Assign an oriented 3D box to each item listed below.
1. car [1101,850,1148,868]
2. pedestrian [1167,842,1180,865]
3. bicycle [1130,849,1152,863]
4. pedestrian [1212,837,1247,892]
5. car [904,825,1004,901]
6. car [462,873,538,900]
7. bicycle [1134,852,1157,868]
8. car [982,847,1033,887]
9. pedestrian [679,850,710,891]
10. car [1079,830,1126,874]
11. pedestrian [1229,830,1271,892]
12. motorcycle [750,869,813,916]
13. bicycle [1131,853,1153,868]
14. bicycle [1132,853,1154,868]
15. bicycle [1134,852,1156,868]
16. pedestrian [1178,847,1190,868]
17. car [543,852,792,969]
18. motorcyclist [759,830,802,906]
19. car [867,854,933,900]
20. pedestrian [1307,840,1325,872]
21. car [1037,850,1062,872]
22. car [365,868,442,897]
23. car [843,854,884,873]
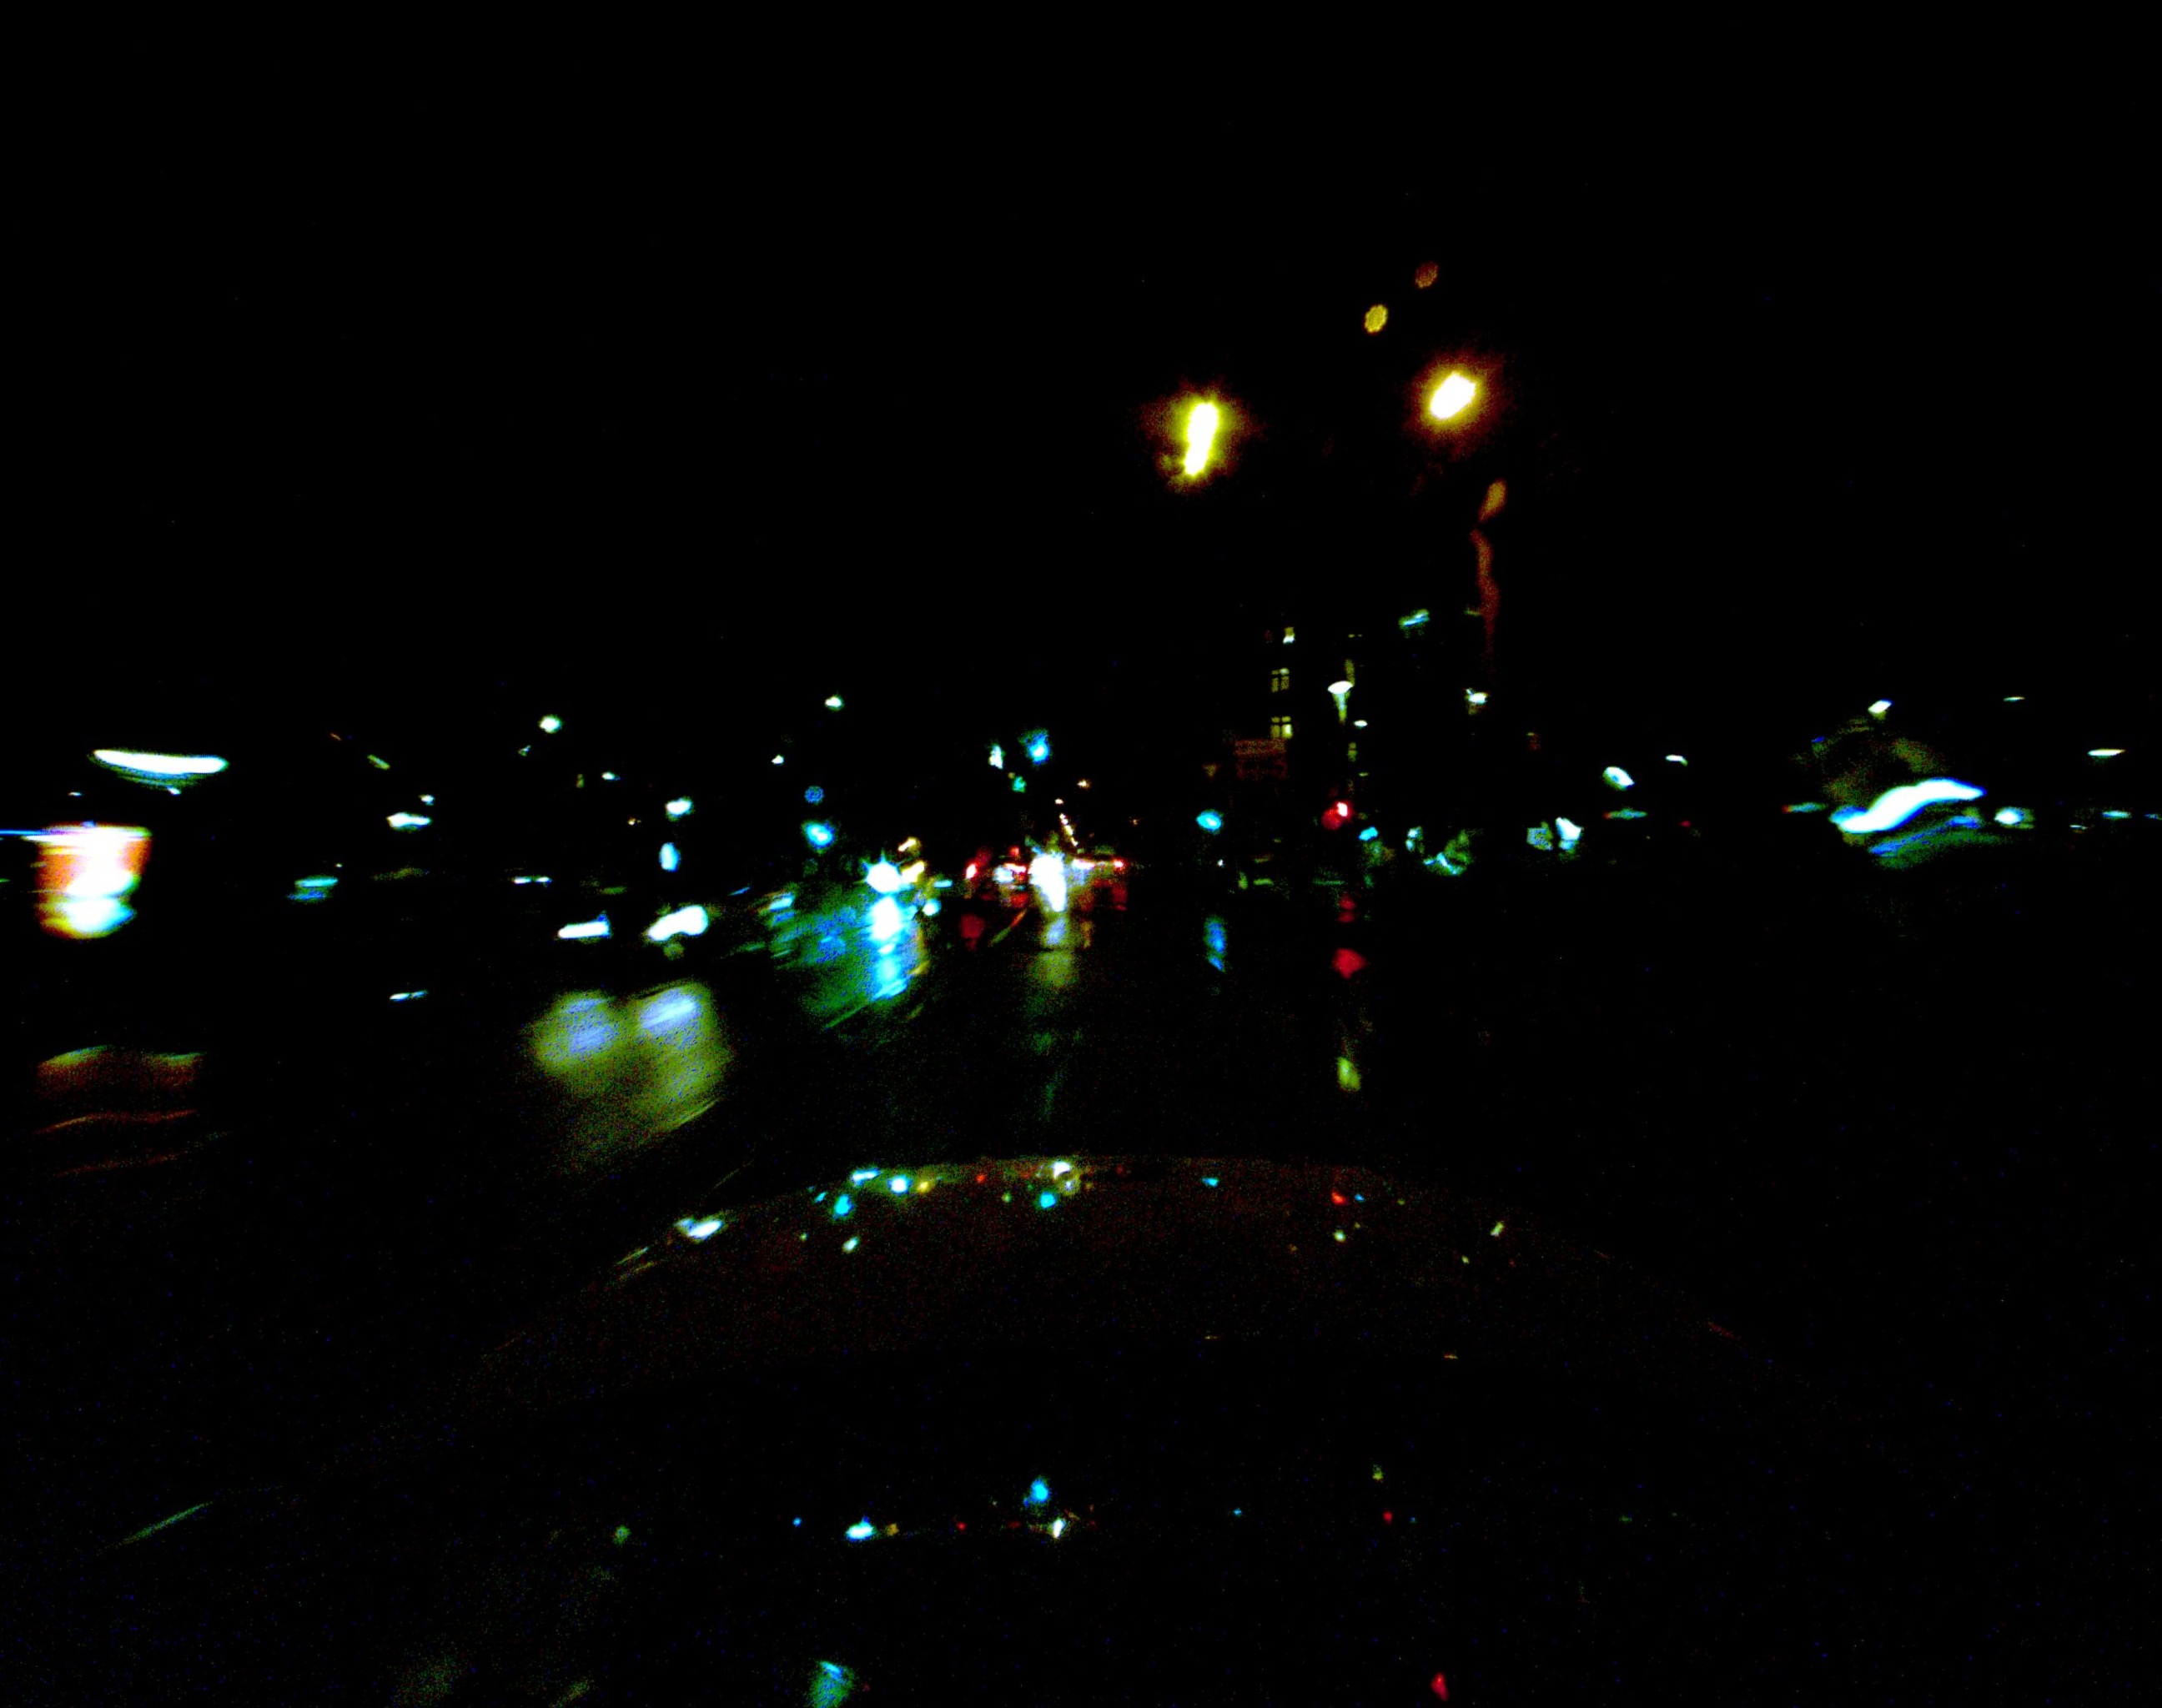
[{"bbox_3d":[4.137,0.435,76.898,4.207,1.457,1.836,-3,1,-39],"label":"car"},{"bbox_3d":[7.678,-0.018,67.505,0.954,1.881,1.000,-2,0,0],"label":"pedestrian"},{"bbox_3d":[5.498,0.187,74.798,1.894,1.251,0.595,-3,-1,-6],"label":"bicycle"},{"bbox_3d":[5.117,0.359,28.169,1.102,1.825,0.852,-2,0,6],"label":"pedestrian"},{"bbox_3d":[-3.701,0.202,24.714,2.027,1.953,5.201,-3,1,1],"label":"car"},{"bbox_3d":[-36.815,2.051,51.607,4.281,1.569,1.908,-2,0,22],"label":"car"},{"bbox_3d":[5.676,0.510,71.964,1.894,1.251,0.709,-3,-1,-6],"label":"bicycle"},{"bbox_3d":[-3.016,0.522,34.343,1.813,1.542,4.723,-1,0,-2],"label":"car"},{"bbox_3d":[-17.023,0.715,35.862,0.761,1.736,0.976,-1,0,37],"label":"pedestrian"},{"bbox_3d":[0.994,-0.081,40.148,2.161,1.972,4.301,-2,0,-1],"label":"car"},{"bbox_3d":[5.135,0.212,24.782,1.102,1.825,0.852,-2,0,4],"label":"pedestrian"},{"bbox_3d":[-8.130,1.013,22.238,0.697,1.138,2.179,-2,1,5],"label":"motorcycle"},{"bbox_3d":[5.568,0.557,74.186,1.894,1.251,0.595,-3,-1,-6],"label":"bicycle"},{"bbox_3d":[5.609,0.569,73.513,1.894,1.251,0.595,-3,-1,-6],"label":"bicycle"},{"bbox_3d":[5.872,0.540,74.771,1.894,1.360,0.595,-3,-1,-6],"label":"bicycle"},{"bbox_3d":[7.993,0.279,63.095,0.778,1.618,1.000,-2,0,0],"label":"pedestrian"},{"bbox_3d":[-6.571,0.782,13.684,1.848,1.499,4.766,-2,1,-2],"label":"car"},{"bbox_3d":[-8.154,0.371,22.143,0.689,2.013,0.984,-2,0,5],"label":"motorcyclist"},{"bbox_3d":[-6.983,0.844,31.865,1.641,1.511,4.107,-4,1,-1],"label":"car"},{"bbox_3d":[15.437,0.116,53.542,0.965,2.013,1.021,-2,3,20],"label":"pedestrian"},{"bbox_3d":[-2.246,0.484,58.594,1.703,1.542,3.985,-1,0,-3],"label":"car"},{"bbox_3d":[-45.175,1.900,54.266,4.682,1.743,1.908,-2,0,22],"label":"car"},{"bbox_3d":[-22.076,0.901,82.753,1.682,1.700,4.218,-1,2,24],"label":"car"}]
